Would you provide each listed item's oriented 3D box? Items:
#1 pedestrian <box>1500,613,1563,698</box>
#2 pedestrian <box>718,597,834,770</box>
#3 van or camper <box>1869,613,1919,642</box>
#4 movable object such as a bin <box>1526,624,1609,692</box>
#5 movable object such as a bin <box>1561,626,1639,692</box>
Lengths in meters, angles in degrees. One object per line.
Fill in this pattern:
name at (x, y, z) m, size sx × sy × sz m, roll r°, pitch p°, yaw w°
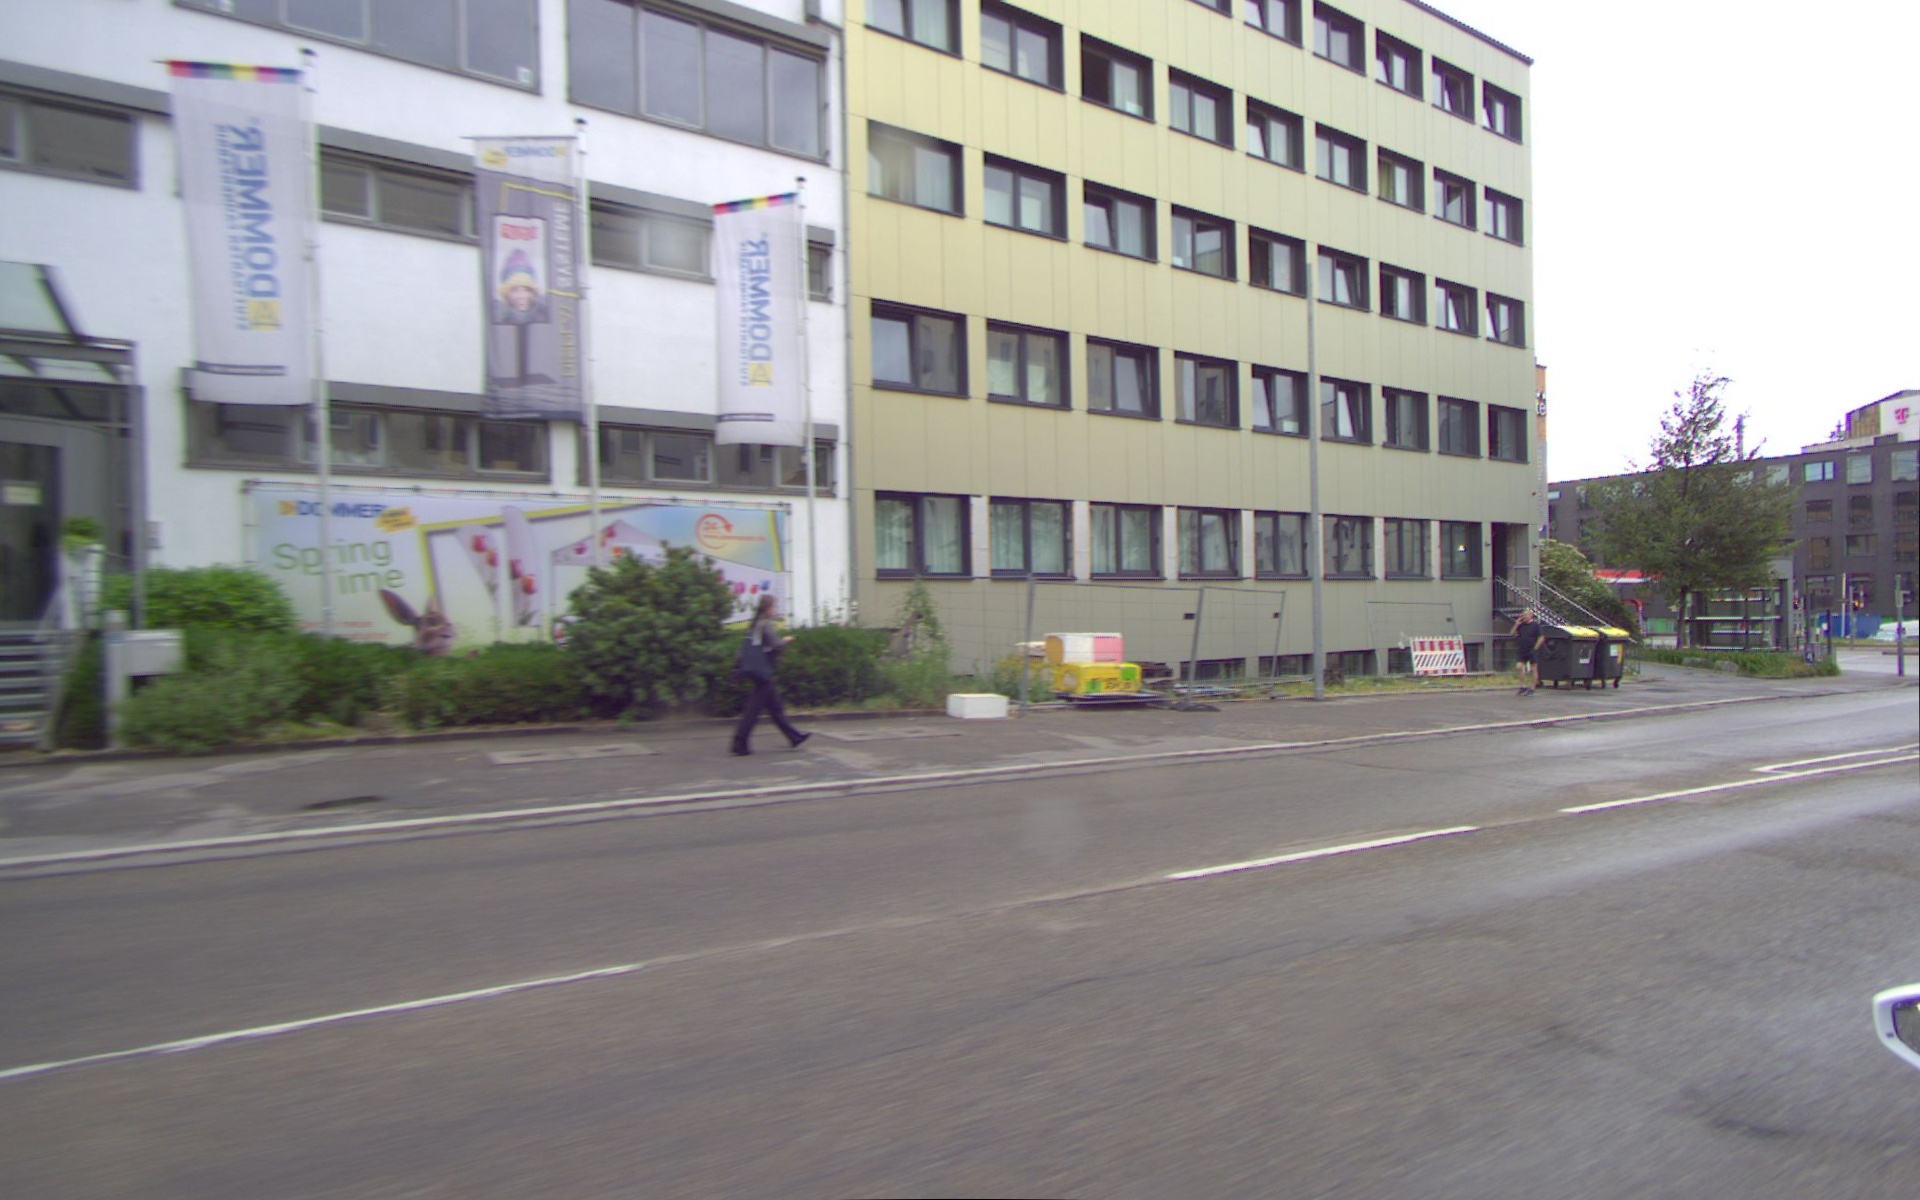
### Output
pedestrian at (12.190, 1.167, 21.424) m, size 0.930 × 1.755 × 0.752 m, roll 1°, pitch 0°, yaw -29°
pedestrian at (-1.928, 0.838, 10.498) m, size 0.957 × 1.699 × 0.763 m, roll 1°, pitch 0°, yaw -31°
van or camper at (83.013, 2.431, 87.358) m, size 2.709 × 2.400 × 5.299 m, roll 1°, pitch 0°, yaw -32°
movable object such as a bin at (14.067, 1.319, 23.266) m, size 1.413 × 1.465 × 1.049 m, roll 1°, pitch 1°, yaw -30°
movable object such as a bin at (15.295, 1.386, 24.011) m, size 1.342 × 1.465 × 1.049 m, roll 1°, pitch 1°, yaw -30°
